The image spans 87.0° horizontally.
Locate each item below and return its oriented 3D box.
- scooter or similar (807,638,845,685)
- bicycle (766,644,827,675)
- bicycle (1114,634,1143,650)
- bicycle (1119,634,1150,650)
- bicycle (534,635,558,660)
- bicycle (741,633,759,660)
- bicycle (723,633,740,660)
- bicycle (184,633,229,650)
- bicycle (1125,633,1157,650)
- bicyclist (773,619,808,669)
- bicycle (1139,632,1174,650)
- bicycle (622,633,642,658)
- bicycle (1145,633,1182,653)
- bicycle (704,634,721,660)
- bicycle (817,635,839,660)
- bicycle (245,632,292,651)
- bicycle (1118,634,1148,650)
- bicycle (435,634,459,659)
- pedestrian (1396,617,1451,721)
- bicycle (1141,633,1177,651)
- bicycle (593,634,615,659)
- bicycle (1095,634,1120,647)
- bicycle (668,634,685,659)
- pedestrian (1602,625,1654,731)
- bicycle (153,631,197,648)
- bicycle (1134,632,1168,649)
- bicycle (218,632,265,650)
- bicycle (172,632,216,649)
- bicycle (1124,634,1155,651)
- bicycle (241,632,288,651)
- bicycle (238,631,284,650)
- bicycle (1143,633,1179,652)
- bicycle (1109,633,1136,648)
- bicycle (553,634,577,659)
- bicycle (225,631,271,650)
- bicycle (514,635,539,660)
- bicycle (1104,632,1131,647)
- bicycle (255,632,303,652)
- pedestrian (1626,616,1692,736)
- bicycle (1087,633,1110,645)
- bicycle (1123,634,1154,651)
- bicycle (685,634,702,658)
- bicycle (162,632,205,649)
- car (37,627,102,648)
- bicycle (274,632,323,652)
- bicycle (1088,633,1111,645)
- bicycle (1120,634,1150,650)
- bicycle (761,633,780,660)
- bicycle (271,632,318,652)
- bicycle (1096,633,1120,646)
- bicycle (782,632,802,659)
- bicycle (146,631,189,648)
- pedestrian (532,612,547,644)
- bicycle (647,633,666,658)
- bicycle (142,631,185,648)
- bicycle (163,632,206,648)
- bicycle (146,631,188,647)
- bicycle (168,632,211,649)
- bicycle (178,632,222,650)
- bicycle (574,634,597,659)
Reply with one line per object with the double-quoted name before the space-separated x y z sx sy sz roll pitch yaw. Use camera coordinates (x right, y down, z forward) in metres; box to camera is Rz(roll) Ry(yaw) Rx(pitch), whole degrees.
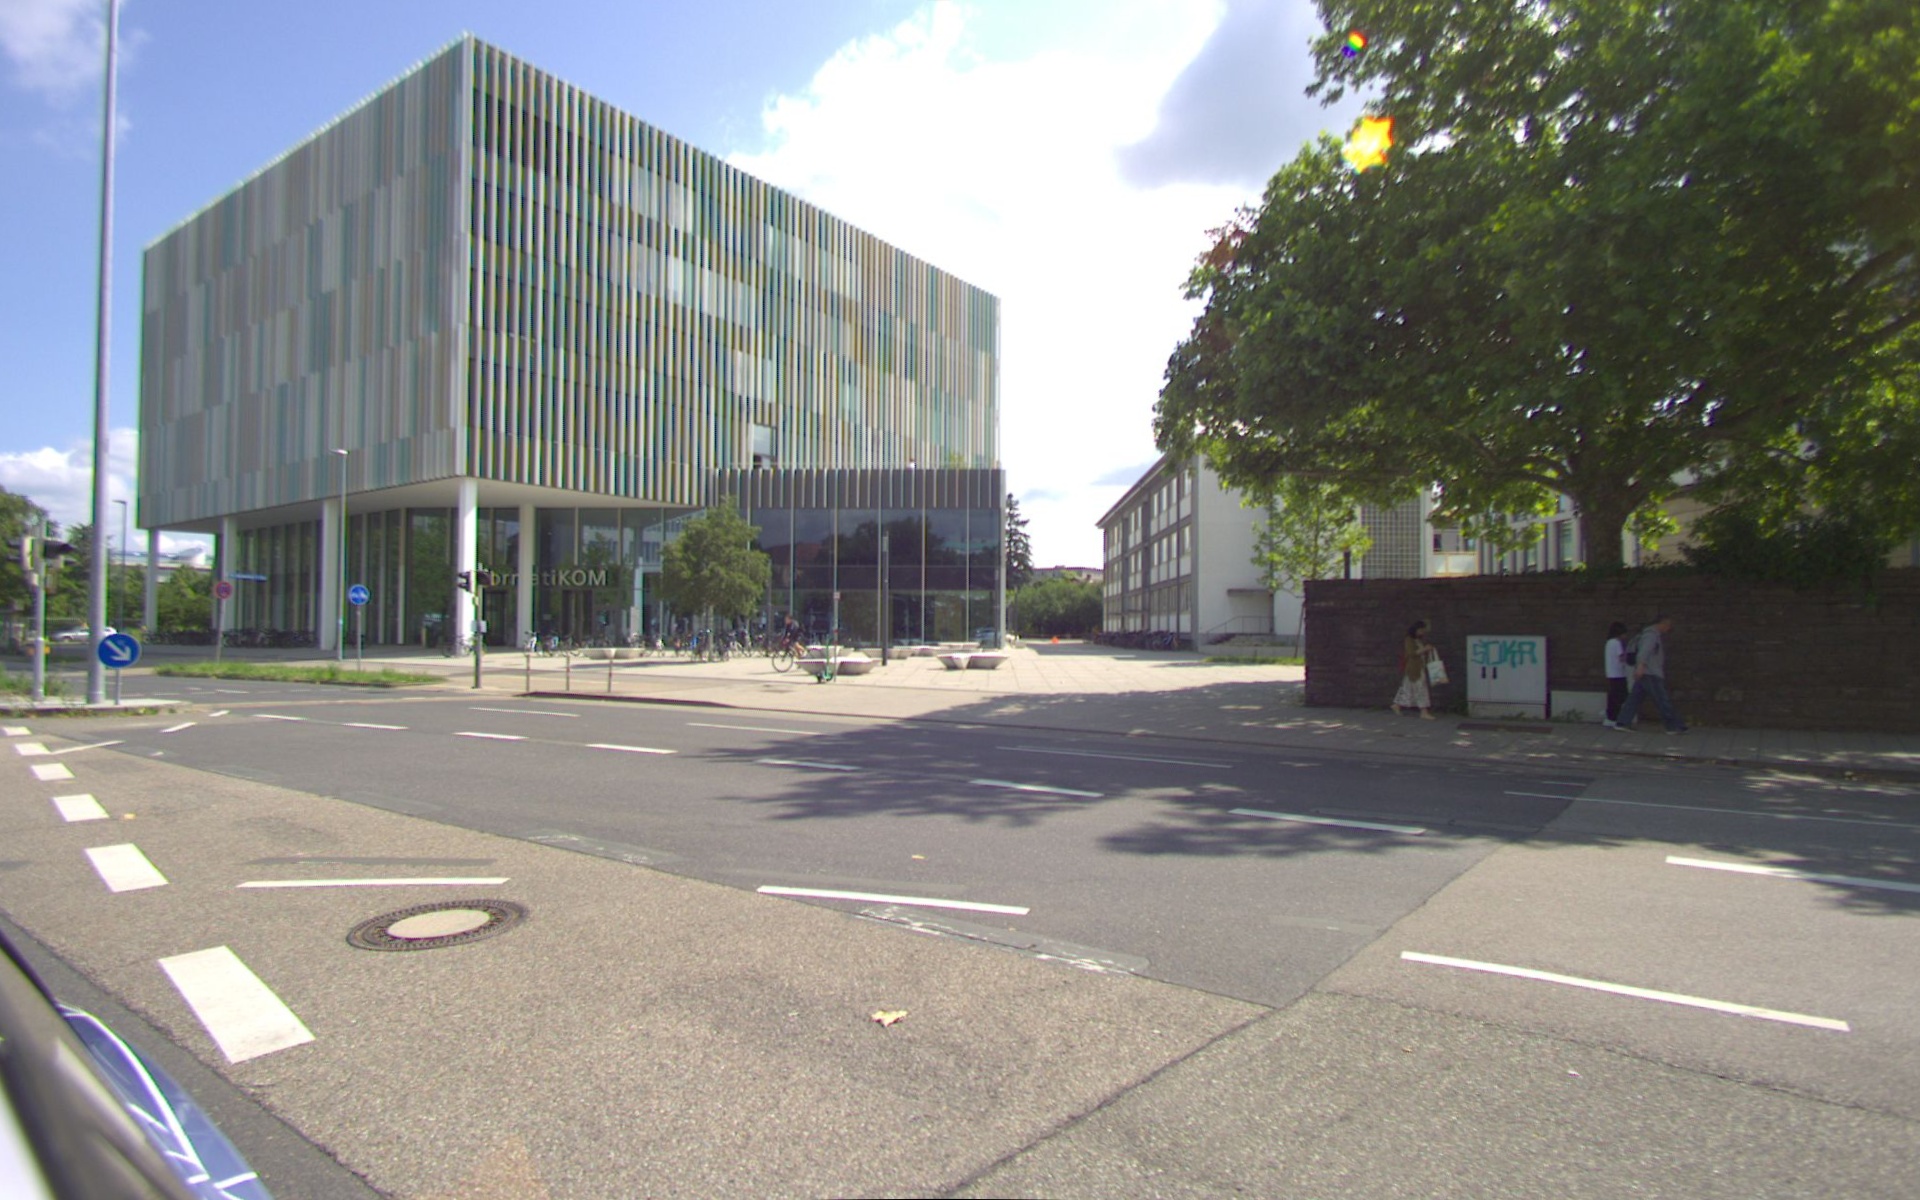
"scooter or similar" -3.428 1.563 25.923 0.498 1.166 1.497 0 -2 12
"bicycle" -4.969 1.806 30.684 1.745 0.899 0.640 1 -2 -19
"bicycle" 11.368 2.830 68.491 1.888 1.022 0.695 0 -2 7
"bicycle" 11.230 2.713 65.256 1.888 1.022 0.695 0 -2 7
"bicycle" -18.844 2.138 46.098 0.710 1.105 2.224 0 -2 -14
"bicycle" -9.574 2.091 46.045 0.734 1.199 2.324 0 -2 -14
"bicycle" -10.397 2.099 46.028 0.734 1.199 2.324 0 -2 -14
"bicycle" -48.491 2.650 65.126 0.720 1.105 2.194 -1 -2 31
"bicycle" 11.020 2.546 61.589 1.888 1.022 0.695 0 -2 7
"bicyclist" -5.136 1.320 30.641 0.930 1.475 0.634 1 -2 -19
"bicycle" 11.239 2.351 57.837 1.888 1.022 0.695 0 -2 7
"bicycle" -14.849 2.053 45.905 0.710 1.105 2.224 0 -2 -14
"bicycle" 10.918 2.294 54.230 1.888 1.022 0.695 0 -2 7
"bicycle" -11.260 2.107 46.065 0.734 1.146 2.324 0 -2 -14
"bicycle" -6.021 2.161 46.039 0.710 1.105 2.224 0 -2 -14
"bicycle" -40.813 2.450 59.770 0.733 1.105 2.194 -1 -2 31
"bicycle" 11.535 2.786 67.533 1.888 1.022 0.695 0 -2 7
"bicycle" -23.091 2.066 45.537 0.540 1.105 1.636 2 -2 -41
"pedestrian" 7.627 1.115 16.647 0.725 1.664 0.555 -1 -2 34
"bicycle" 11.106 2.332 56.506 1.888 1.022 0.695 0 -2 7
"bicycle" -16.251 2.099 46.219 0.710 1.105 2.224 0 -2 -14
"bicycle" 11.562 3.175 79.402 1.888 1.022 0.695 0 -2 7
"bicycle" -12.965 2.107 46.333 0.710 1.105 2.224 0 -2 -14
"pedestrian" 10.045 1.151 15.223 0.615 1.551 0.472 -1 -2 34
"bicycle" -53.183 2.673 68.581 0.720 1.105 2.194 -1 -2 31
"bicycle" 11.127 2.364 59.045 1.888 1.022 0.695 0 -2 7
"bicycle" -43.910 2.482 61.879 0.720 1.105 2.194 -1 -2 31
"bicycle" -50.440 2.686 66.672 0.720 1.105 2.194 -1 -2 31
"bicycle" 11.117 2.621 62.738 1.888 1.022 0.695 0 -2 7
"bicycle" -41.520 2.460 60.454 0.720 1.105 2.194 -1 -2 31
"bicycle" -42.115 2.447 61.014 0.720 1.105 2.194 -1 -2 31
"bicycle" 11.019 2.314 55.473 1.888 1.022 0.695 0 -2 7
"bicycle" 11.512 2.858 71.829 1.888 1.022 0.695 0 -2 7
"bicycle" -18.050 2.126 46.293 0.710 1.105 2.224 0 -2 -14
"bicycle" -43.196 2.448 61.418 0.720 1.105 2.194 -1 -2 31
"bicycle" -19.641 2.144 45.898 0.710 1.105 2.224 0 -2 -14
"bicycle" 11.447 2.872 73.472 1.888 1.022 0.695 0 -2 7
"bicycle" -39.471 2.426 58.704 0.720 1.105 2.194 -1 -2 31
"pedestrian" 10.004 1.070 14.510 0.729 1.664 0.635 -1 -2 34
"bicycle" 11.530 3.236 84.305 1.888 1.022 0.695 0 -2 7
"bicycle" 11.263 2.670 63.926 1.888 1.022 0.695 0 -2 7
"bicycle" -12.230 2.099 46.543 0.710 1.105 2.224 0 -2 -14
"bicycle" -51.774 2.688 67.500 0.720 1.105 2.194 -1 -2 31
"car" -75.641 3.186 86.012 1.644 1.699 3.948 -1 -2 38
"bicycle" -37.760 2.372 57.797 0.720 1.105 2.194 -1 -2 31
"bicycle" 11.783 3.266 85.413 1.888 1.022 0.695 0 -2 7
"bicycle" 11.416 2.731 66.178 1.888 1.022 0.695 0 -2 7
"bicycle" -8.605 2.080 45.883 0.734 1.199 2.324 0 -2 -14
"bicycle" -38.521 2.429 58.600 0.753 1.105 2.194 -1 -2 31
"bicycle" 11.945 3.177 81.536 1.888 1.022 0.695 0 -2 7
"bicycle" -7.665 2.074 46.168 0.734 1.199 2.324 0 -2 -14
"bicycle" -54.223 2.707 69.274 0.720 1.105 2.194 -1 -2 31
"pedestrian" -24.291 1.621 58.499 0.753 1.885 0.650 1 -2 -19
"bicycle" -13.802 2.072 46.068 0.710 1.105 2.224 0 -2 -14
"bicycle" -54.864 2.716 69.711 0.720 1.105 2.194 -1 -2 31
"bicycle" -52.385 2.695 68.417 0.720 1.105 2.194 -1 -2 31
"bicycle" -55.578 2.741 70.909 0.720 1.105 2.194 -1 -2 31
"bicycle" -51.086 2.684 67.122 0.720 1.098 2.194 -1 -2 31
"bicycle" -49.453 2.668 65.869 0.720 1.105 2.194 -1 -2 31
"bicycle" -17.034 2.109 46.053 0.710 1.105 2.224 0 -2 -14
